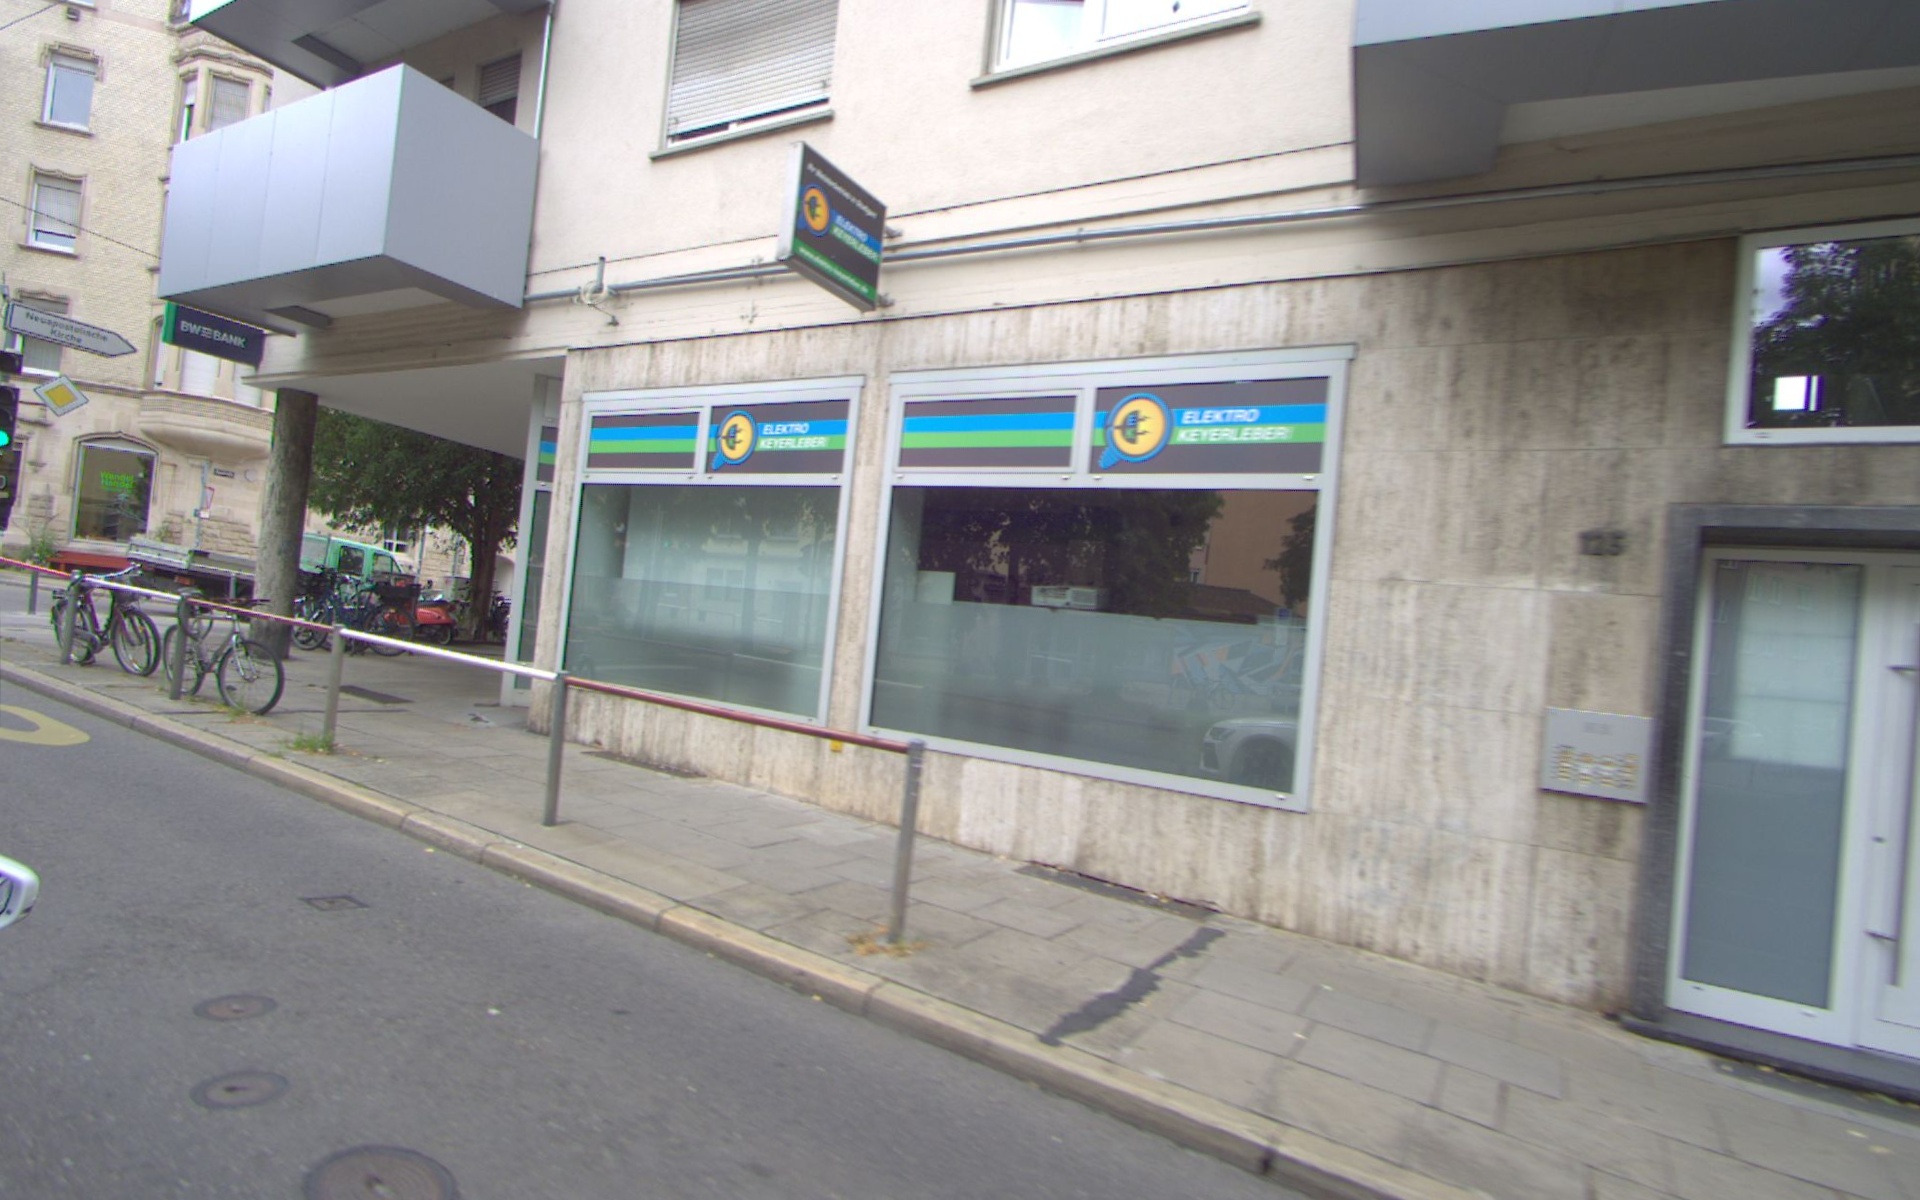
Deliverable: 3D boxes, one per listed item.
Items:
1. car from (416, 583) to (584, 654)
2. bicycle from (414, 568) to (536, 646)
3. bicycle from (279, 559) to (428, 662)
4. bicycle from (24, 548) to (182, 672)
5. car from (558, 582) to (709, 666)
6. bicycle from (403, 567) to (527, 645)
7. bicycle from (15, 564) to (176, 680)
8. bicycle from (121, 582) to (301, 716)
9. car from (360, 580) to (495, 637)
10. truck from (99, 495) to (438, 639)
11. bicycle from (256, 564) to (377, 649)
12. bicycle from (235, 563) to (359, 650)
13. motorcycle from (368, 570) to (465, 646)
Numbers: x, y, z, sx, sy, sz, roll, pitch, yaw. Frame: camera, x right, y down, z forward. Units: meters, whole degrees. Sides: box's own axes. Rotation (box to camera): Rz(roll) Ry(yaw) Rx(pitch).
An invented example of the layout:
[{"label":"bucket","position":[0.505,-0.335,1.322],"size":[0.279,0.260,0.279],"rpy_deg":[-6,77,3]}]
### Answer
[{"label":"car","position":[-12.545,0.553,27.701],"size":[1.814,1.422,3.826],"rpy_deg":[6,-4,25]},{"label":"bicycle","position":[-9.207,0.129,19.072],"size":[2.283,1.201,0.278],"rpy_deg":[7,-1,12]},{"label":"bicycle","position":[-8.435,0.158,14.009],"size":[1.728,1.212,0.319],"rpy_deg":[7,-1,-1]},{"label":"bicycle","position":[-8.721,0.092,10.228],"size":[1.728,1.066,0.287],"rpy_deg":[6,-1,19]},{"label":"car","position":[-10.399,0.845,32.395],"size":[1.849,2.150,4.481],"rpy_deg":[6,-4,25]},{"label":"bicycle","position":[-9.264,0.109,18.803],"size":[2.283,1.201,0.278],"rpy_deg":[7,-1,12]},{"label":"bicycle","position":[-8.509,0.207,9.888],"size":[1.728,0.942,0.287],"rpy_deg":[6,-1,19]},{"label":"bicycle","position":[-6.509,0.413,8.718],"size":[1.745,0.942,0.570],"rpy_deg":[6,-2,32]},{"label":"car","position":[-16.488,0.302,31.320],"size":[1.536,1.352,3.388],"rpy_deg":[4,-5,24]},{"label":"truck","position":[-14.862,-0.576,22.158],"size":[2.338,2.155,5.586],"rpy_deg":[7,-4,22]},{"label":"bicycle","position":[-9.577,0.098,14.969],"size":[1.727,1.055,0.319],"rpy_deg":[6,-1,14]},{"label":"bicycle","position":[-9.651,0.090,14.646],"size":[1.727,1.055,0.319],"rpy_deg":[6,-1,14]},{"label":"motorcycle","position":[-9.437,0.128,17.443],"size":[1.772,1.118,0.571],"rpy_deg":[6,-2,32]}]
